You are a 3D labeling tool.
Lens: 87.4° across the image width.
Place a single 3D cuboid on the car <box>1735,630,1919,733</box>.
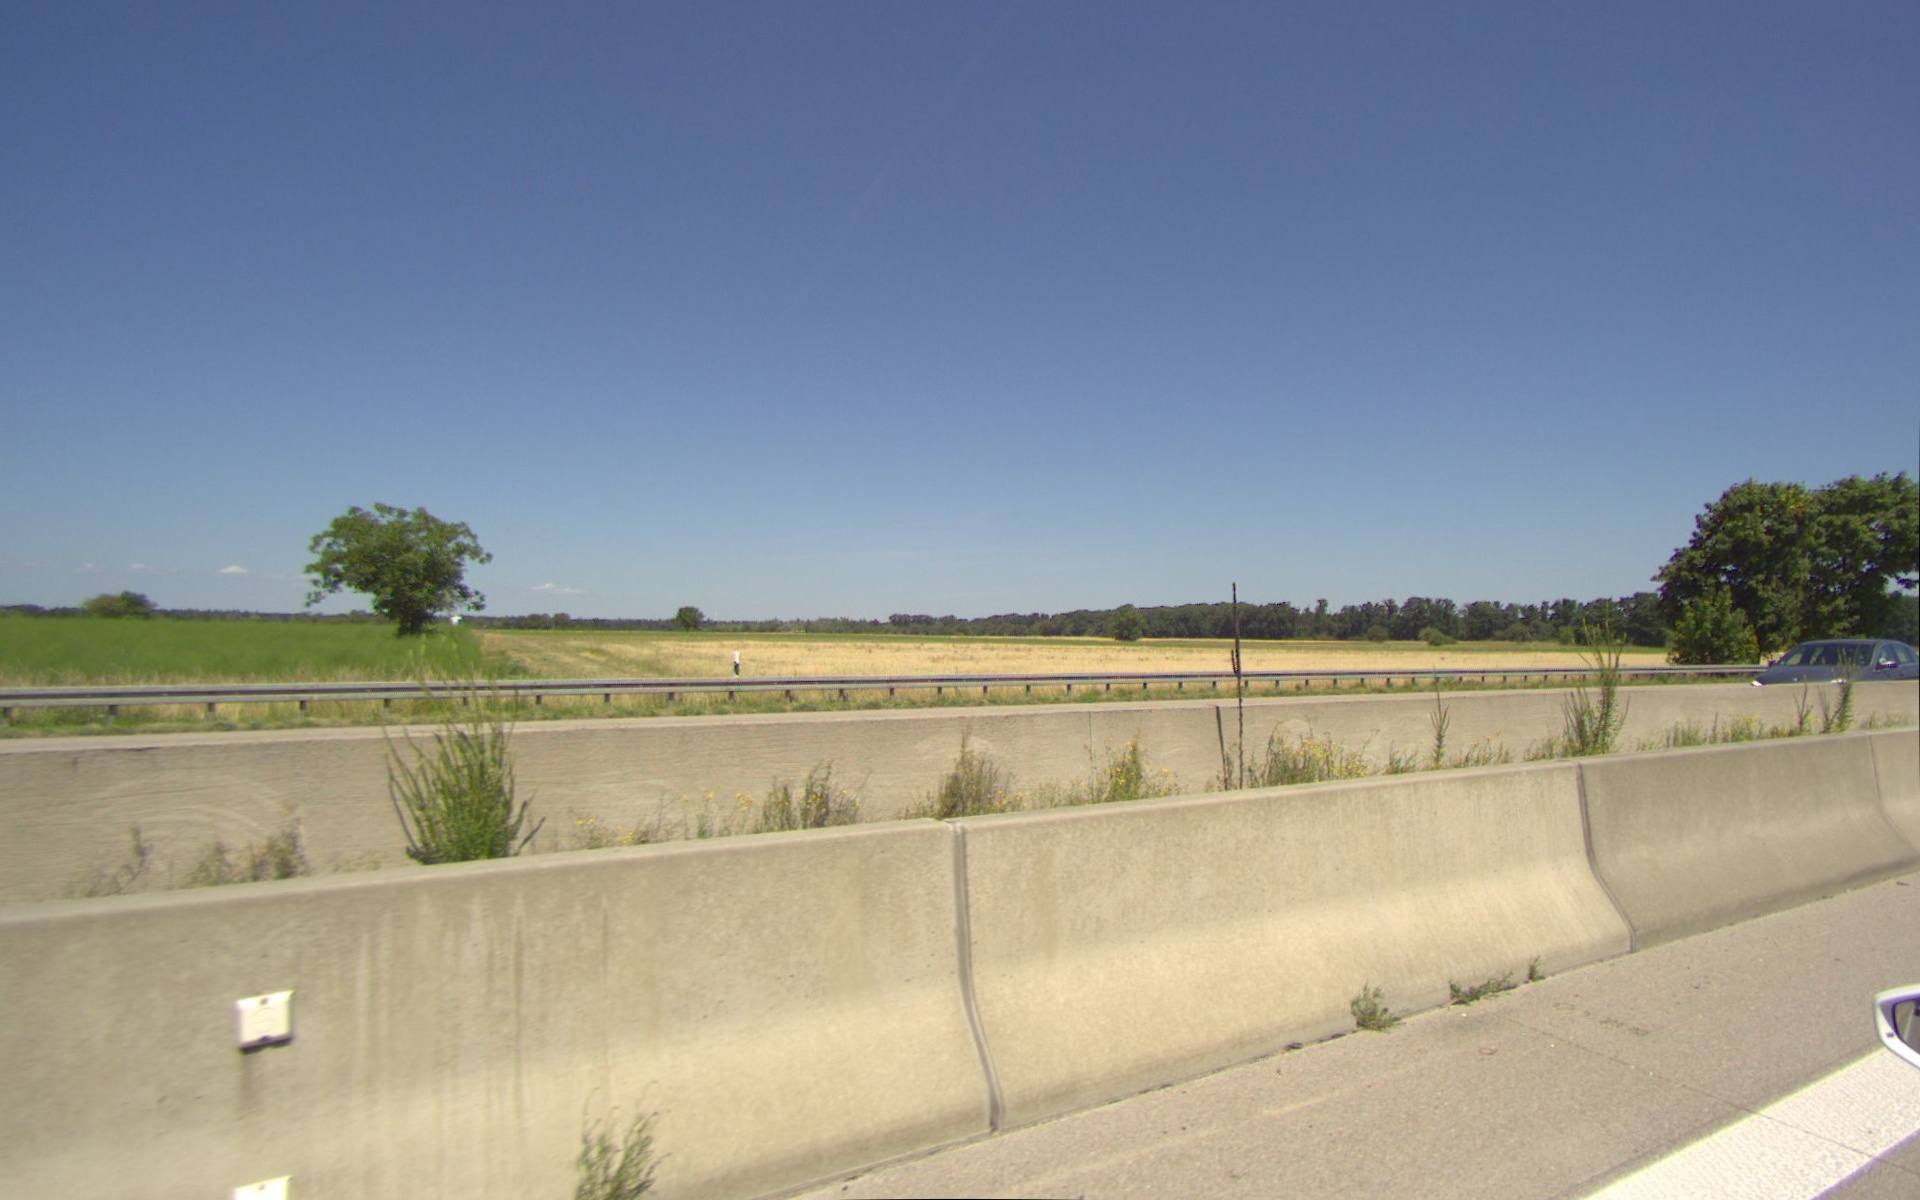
[{"bbox_3d":[17.095,1.507,19.432,4.090,1.752,1.855,2,0,-29],"label":"car"}]
